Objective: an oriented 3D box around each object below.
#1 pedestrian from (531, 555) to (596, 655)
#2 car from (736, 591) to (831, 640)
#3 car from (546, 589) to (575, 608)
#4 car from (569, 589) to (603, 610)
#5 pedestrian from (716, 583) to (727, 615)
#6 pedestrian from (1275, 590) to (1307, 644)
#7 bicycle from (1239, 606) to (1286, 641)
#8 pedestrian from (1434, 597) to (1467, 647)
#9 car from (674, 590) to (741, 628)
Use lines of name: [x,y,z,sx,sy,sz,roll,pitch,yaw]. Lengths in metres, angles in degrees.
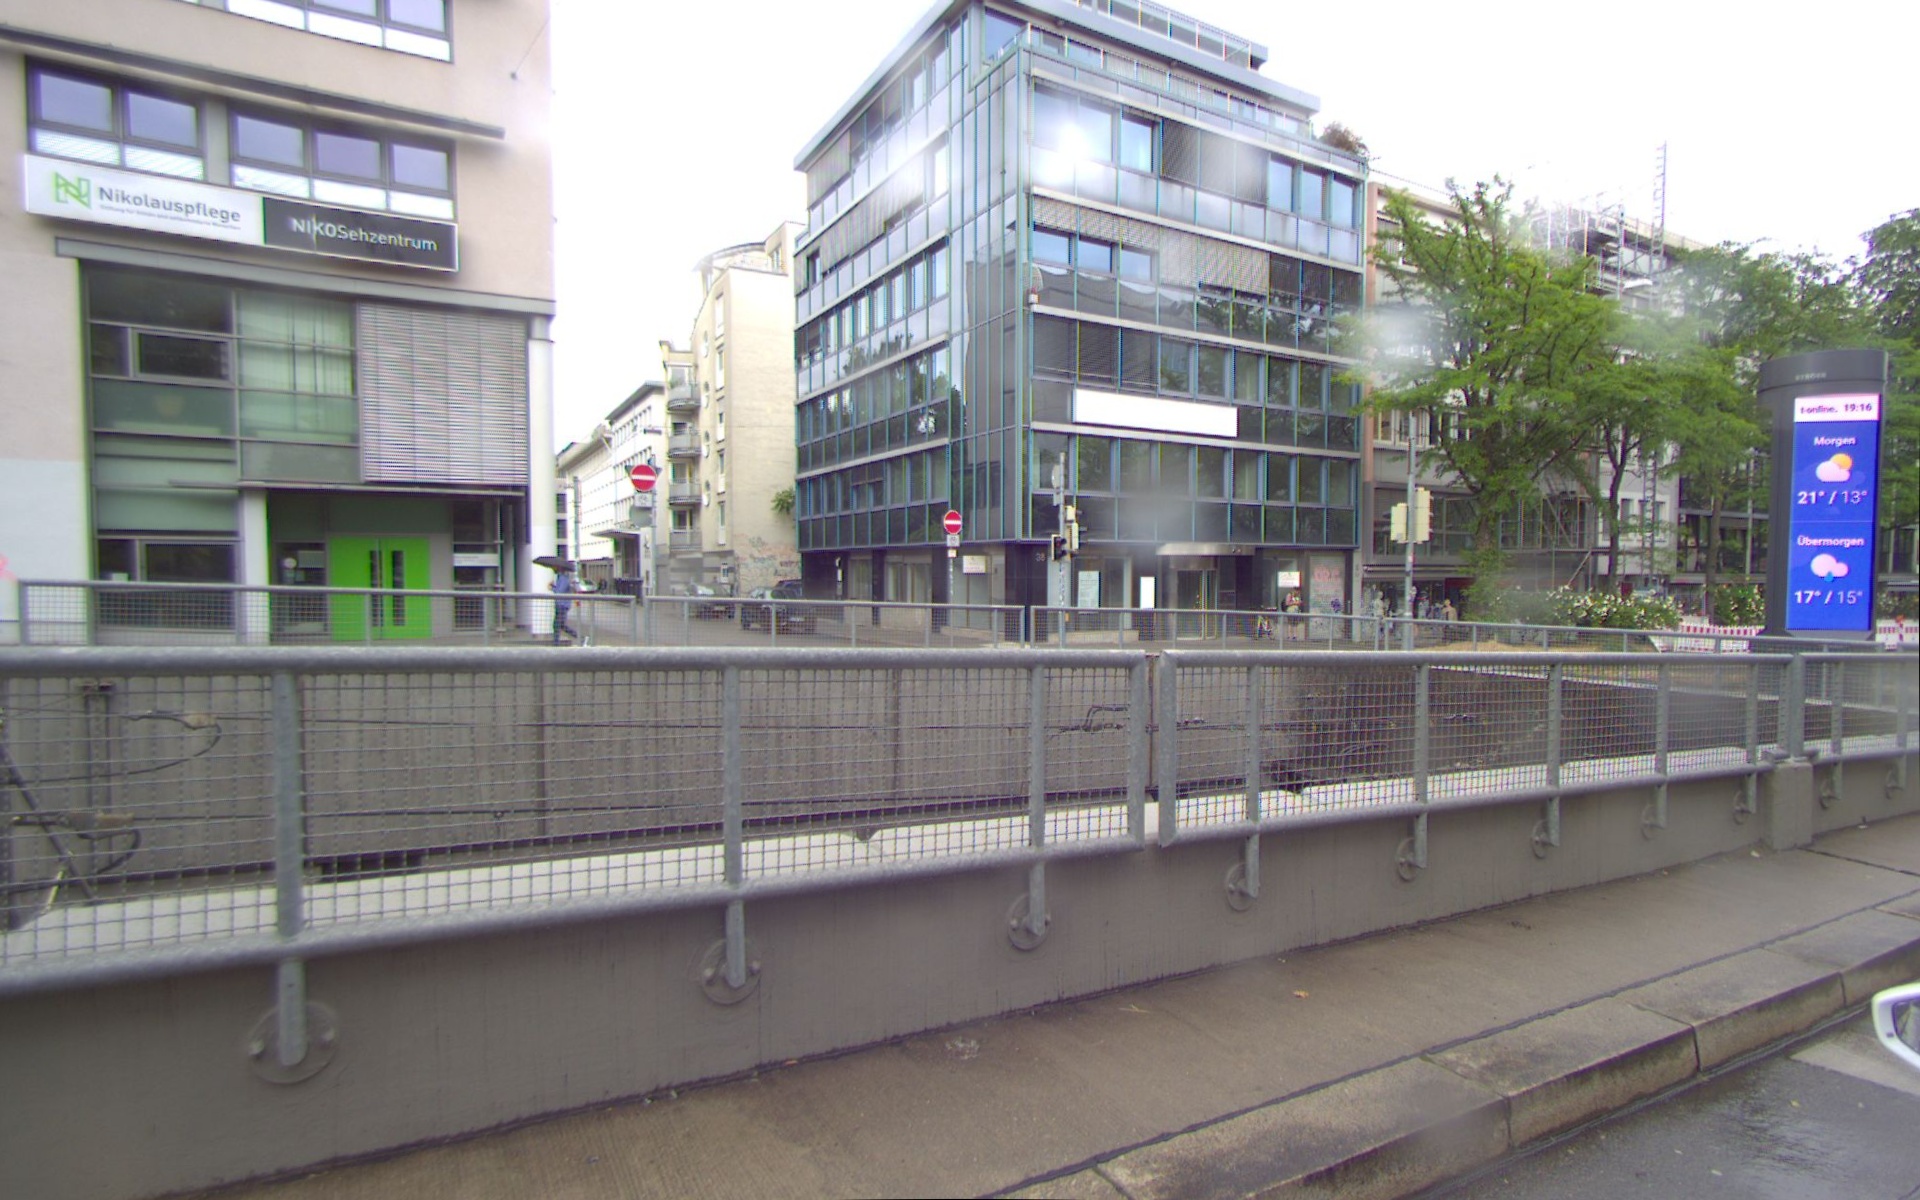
pedestrian: [-7.688,0.091,19.460,1.047,1.863,0.853,1,2,-30]
car: [-6.249,0.505,35.169,1.977,1.578,3.966,1,0,-31]
car: [-34.963,-0.160,87.764,1.777,1.578,3.967,1,0,-30]
car: [-29.378,-0.030,78.851,1.777,1.578,3.967,1,0,-30]
pedestrian: [-12.671,-0.067,53.276,0.443,1.664,0.326,1,2,-35]
pedestrian: [10.941,0.558,33.228,0.688,1.765,0.691,1,2,-35]
bicycle: [9.861,0.773,32.720,1.544,1.100,0.444,1,1,-27]
pedestrian: [17.756,0.775,36.363,0.867,1.765,0.689,1,2,-32]
car: [-11.114,0.364,44.107,1.777,1.578,3.966,1,0,-31]
